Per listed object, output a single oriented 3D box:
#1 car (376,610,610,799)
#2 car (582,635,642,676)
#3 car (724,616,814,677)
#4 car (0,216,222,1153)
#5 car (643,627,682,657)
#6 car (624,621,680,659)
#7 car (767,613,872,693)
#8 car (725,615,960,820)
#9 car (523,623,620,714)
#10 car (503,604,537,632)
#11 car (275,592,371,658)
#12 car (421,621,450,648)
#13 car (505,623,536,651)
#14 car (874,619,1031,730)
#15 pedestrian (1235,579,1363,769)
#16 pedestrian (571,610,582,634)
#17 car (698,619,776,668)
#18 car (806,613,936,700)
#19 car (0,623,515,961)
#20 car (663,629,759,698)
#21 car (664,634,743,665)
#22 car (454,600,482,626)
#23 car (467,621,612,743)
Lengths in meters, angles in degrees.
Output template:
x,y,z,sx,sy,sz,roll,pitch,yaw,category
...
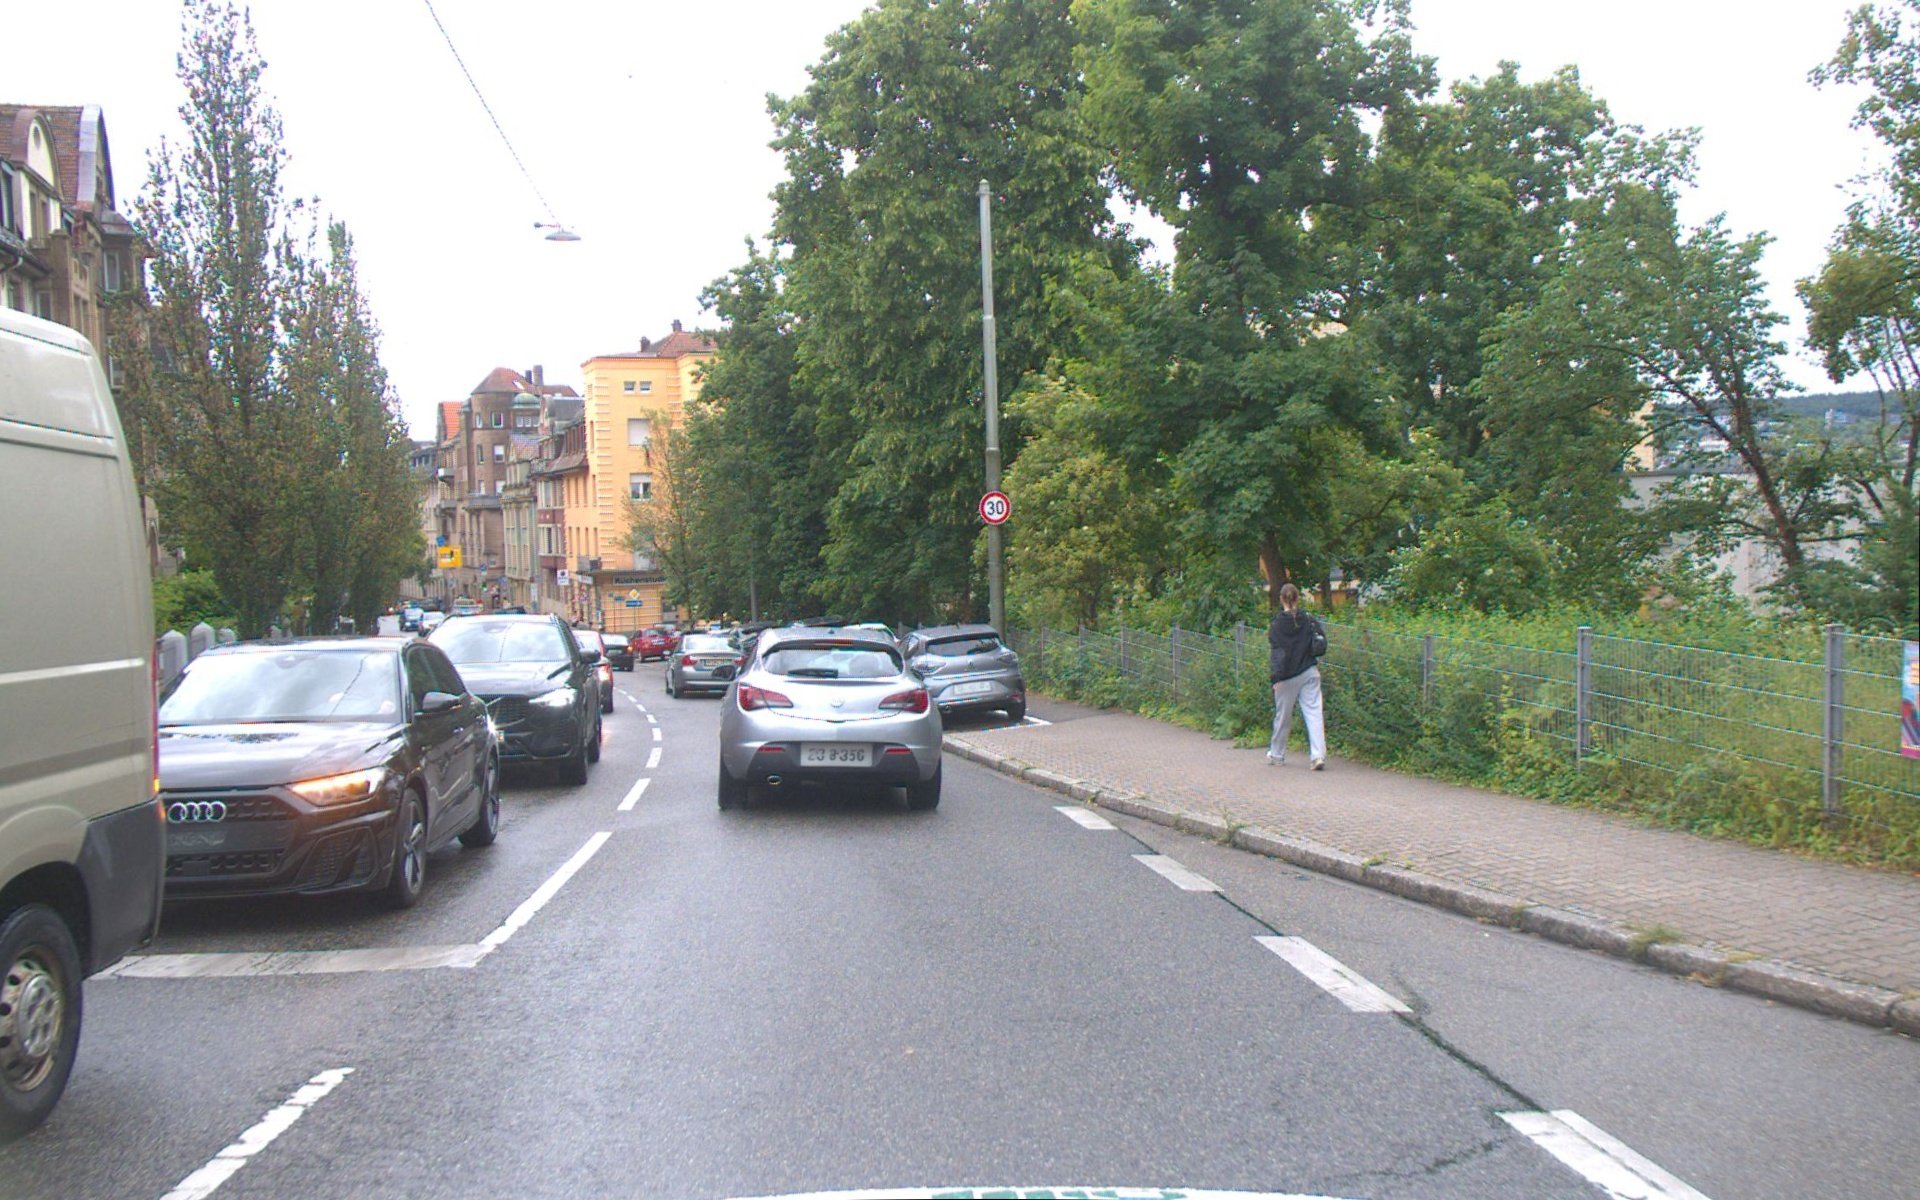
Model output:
x,y,z,sx,sy,sz,roll,pitch,yaw,category
-4.609,0.956,16.933,1.841,1.602,4.574,-2,-1,-10,car
-13.453,2.108,63.819,1.742,1.439,3.693,0,0,-21,car
-5.911,1.431,50.718,1.945,1.637,4.464,-4,-1,-16,car
-3.618,0.236,3.228,2.075,2.590,5.535,-2,-1,-3,car
-16.455,2.309,91.622,1.741,1.454,3.782,-1,1,-5,car
-13.858,1.809,74.338,1.789,1.492,3.977,-7,0,-19,car
-3.531,1.269,40.785,1.790,1.712,4.786,-4,0,-13,car
-1.116,0.919,14.711,1.780,1.454,3.995,-1,1,-6,car
-7.429,1.267,31.874,1.625,1.596,3.989,-1,-1,-11,car
-32.503,1.343,122.172,1.966,1.717,3.976,-7,1,-20,car
-16.721,0.691,43.605,1.783,1.641,3.986,-1,-2,-13,car
-35.731,2.319,112.660,1.795,1.679,3.980,-3,0,-18,car
-26.262,2.195,98.689,1.614,1.563,3.698,-2,0,-17,car
-0.193,1.097,25.461,1.620,1.429,3.802,-5,0,-12,car
3.101,0.662,15.219,0.752,1.633,0.963,-4,0,-10,pedestrian
-24.782,1.412,106.761,0.603,1.522,0.550,-2,2,-18,pedestrian
-7.699,1.512,56.789,1.945,1.477,4.094,-5,-1,-17,car
-1.962,1.195,35.223,1.787,1.520,3.982,-7,0,-16,car
-3.799,0.903,9.630,1.781,1.455,3.992,-2,-1,-8,car
-5.707,1.406,37.564,1.747,1.455,3.770,0,-1,-15,car
-13.170,2.563,84.969,3.720,1.455,1.770,3,-3,-22,car
-38.552,1.043,129.493,1.757,1.887,3.973,-1,-2,-22,car
-5.751,1.074,23.011,1.742,1.523,4.250,0,-1,-11,car
